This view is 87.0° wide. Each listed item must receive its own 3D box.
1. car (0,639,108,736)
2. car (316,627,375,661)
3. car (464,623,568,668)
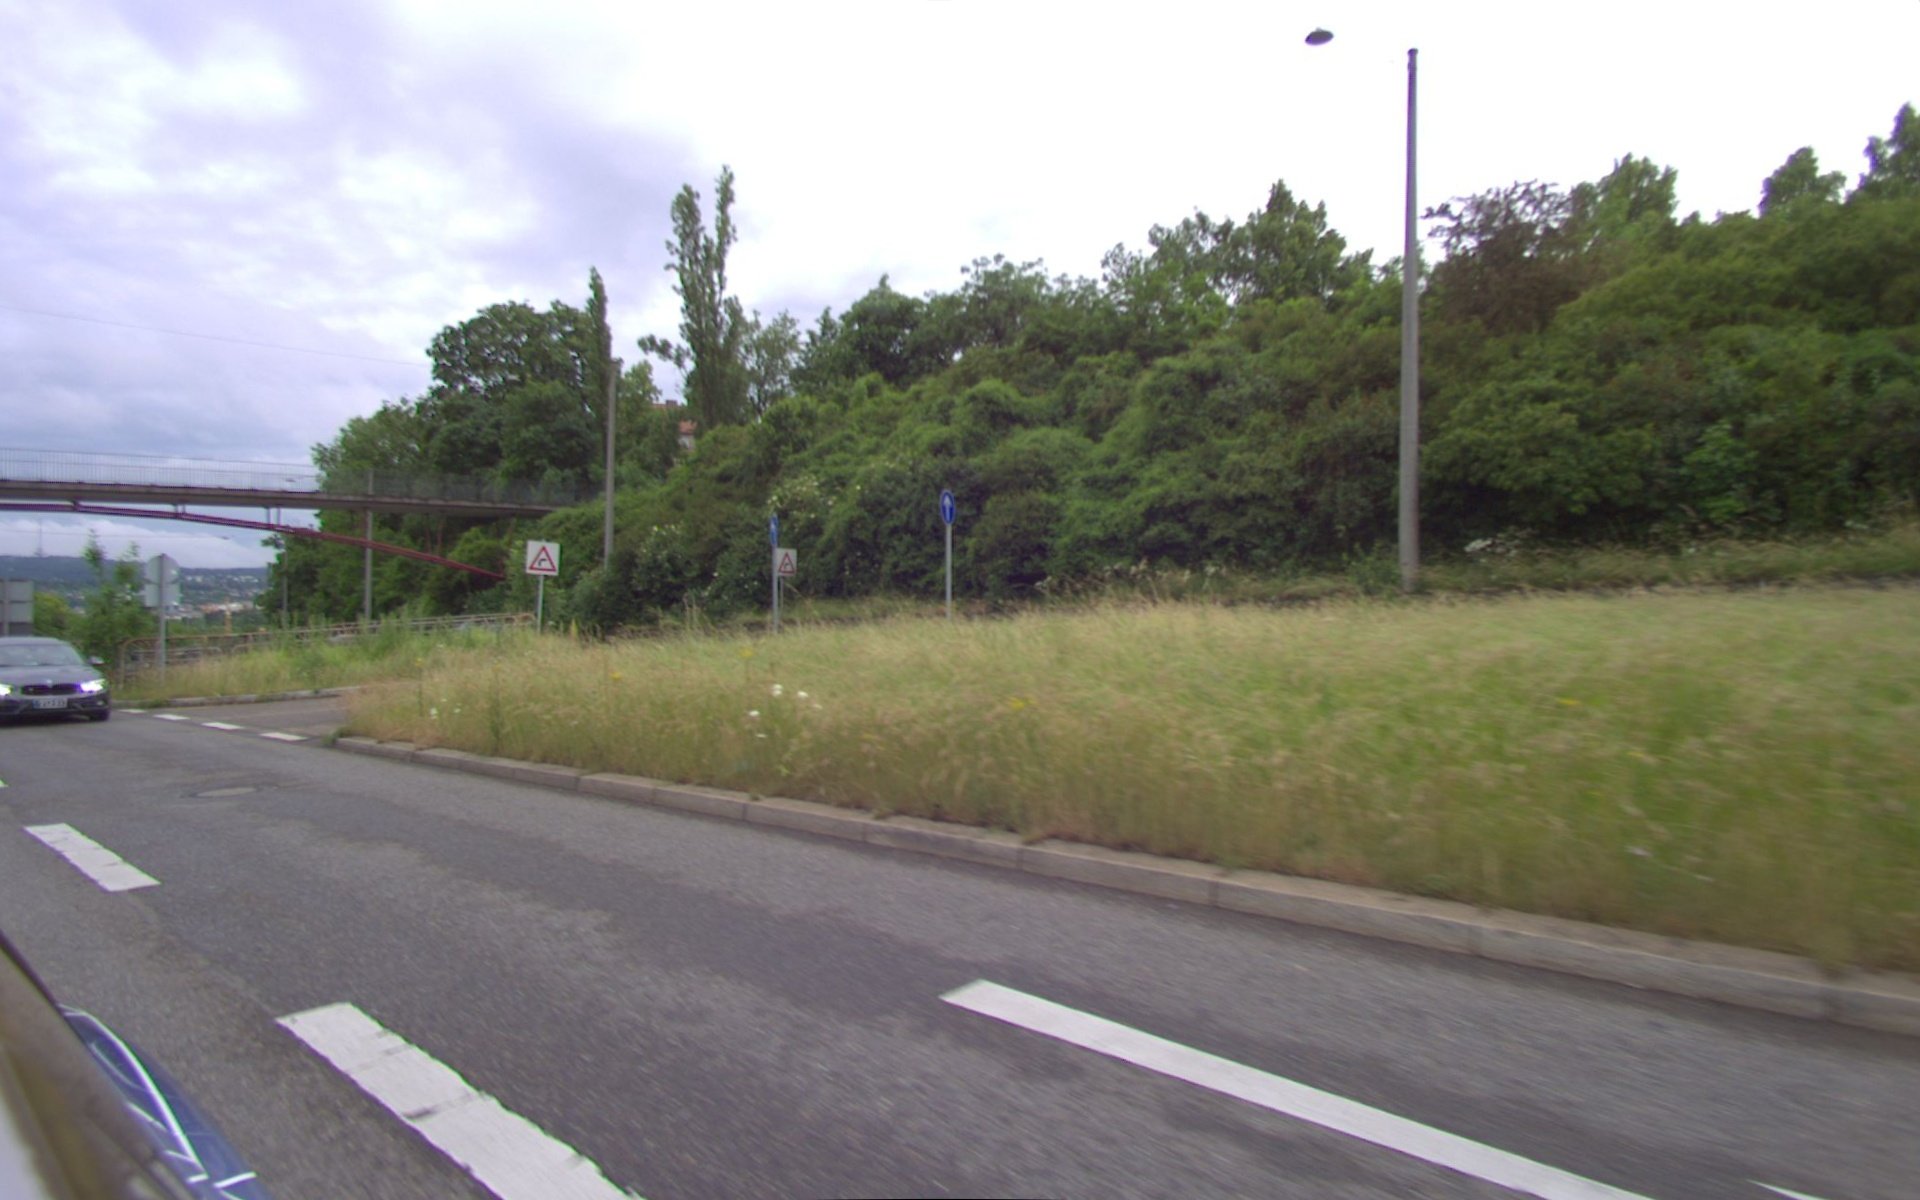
[{"bbox_3d":[-16.126,1.449,17.376,3.885,1.482,1.707,-3,-3,41],"label":"car"},{"bbox_3d":[-34.825,2.490,57.302,1.970,1.848,4.634,1,-2,-43],"label":"car"},{"bbox_3d":[-17.890,1.805,40.699,4.720,1.649,1.973,-2,0,41],"label":"car"}]
